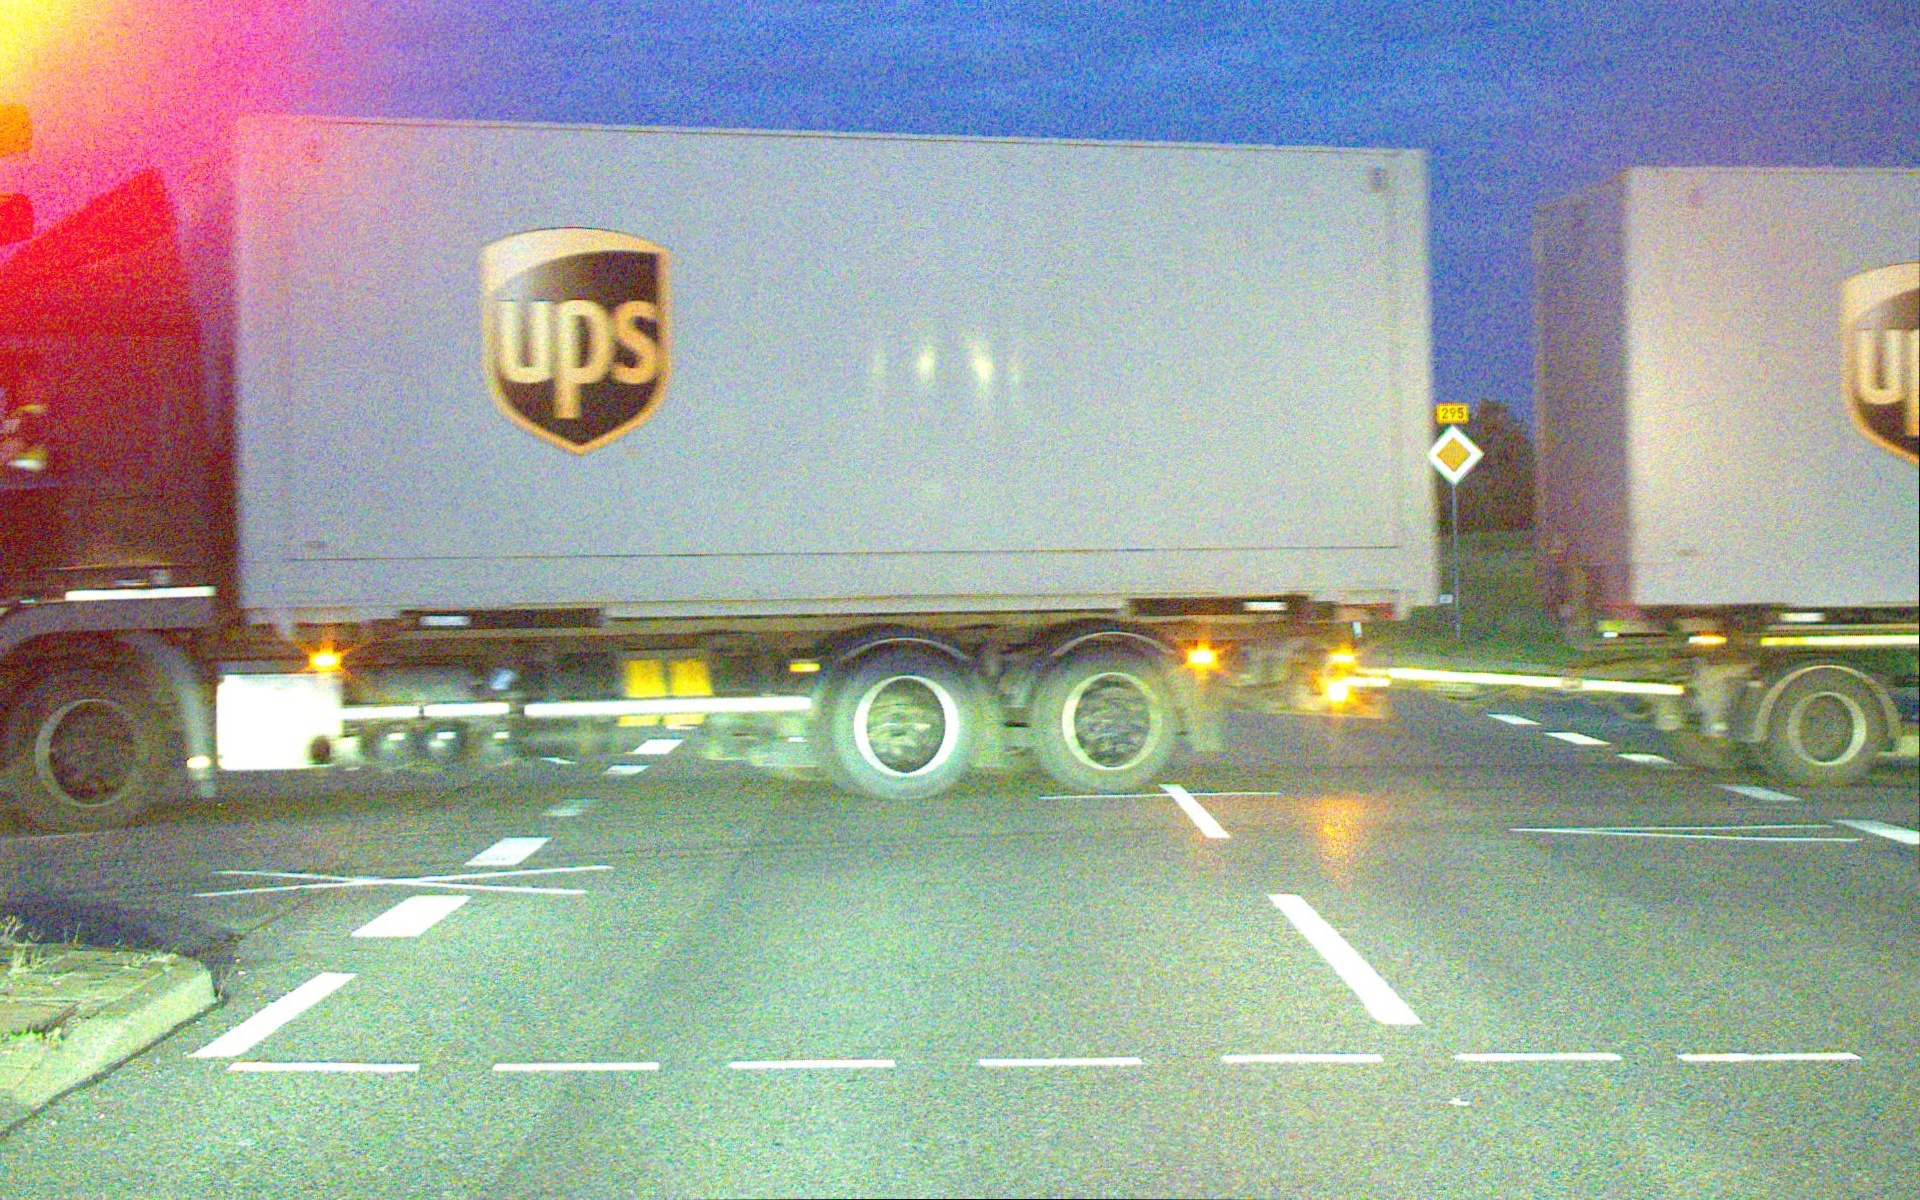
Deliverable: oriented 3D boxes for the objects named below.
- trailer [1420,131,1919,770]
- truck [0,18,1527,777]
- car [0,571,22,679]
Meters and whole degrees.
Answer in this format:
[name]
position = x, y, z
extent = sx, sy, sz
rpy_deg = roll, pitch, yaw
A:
[trailer]
position = 7.773, -1.065, 23.058
extent = 8.847, 3.929, 2.586
rpy_deg = -2, 1, -4
[truck]
position = -1.791, -1.147, 21.173
extent = 10.309, 4.103, 2.735
rpy_deg = -1, 1, -18
[car]
position = -13.211, 0.424, 43.488
extent = 1.628, 1.372, 3.589
rpy_deg = -5, 2, 0
